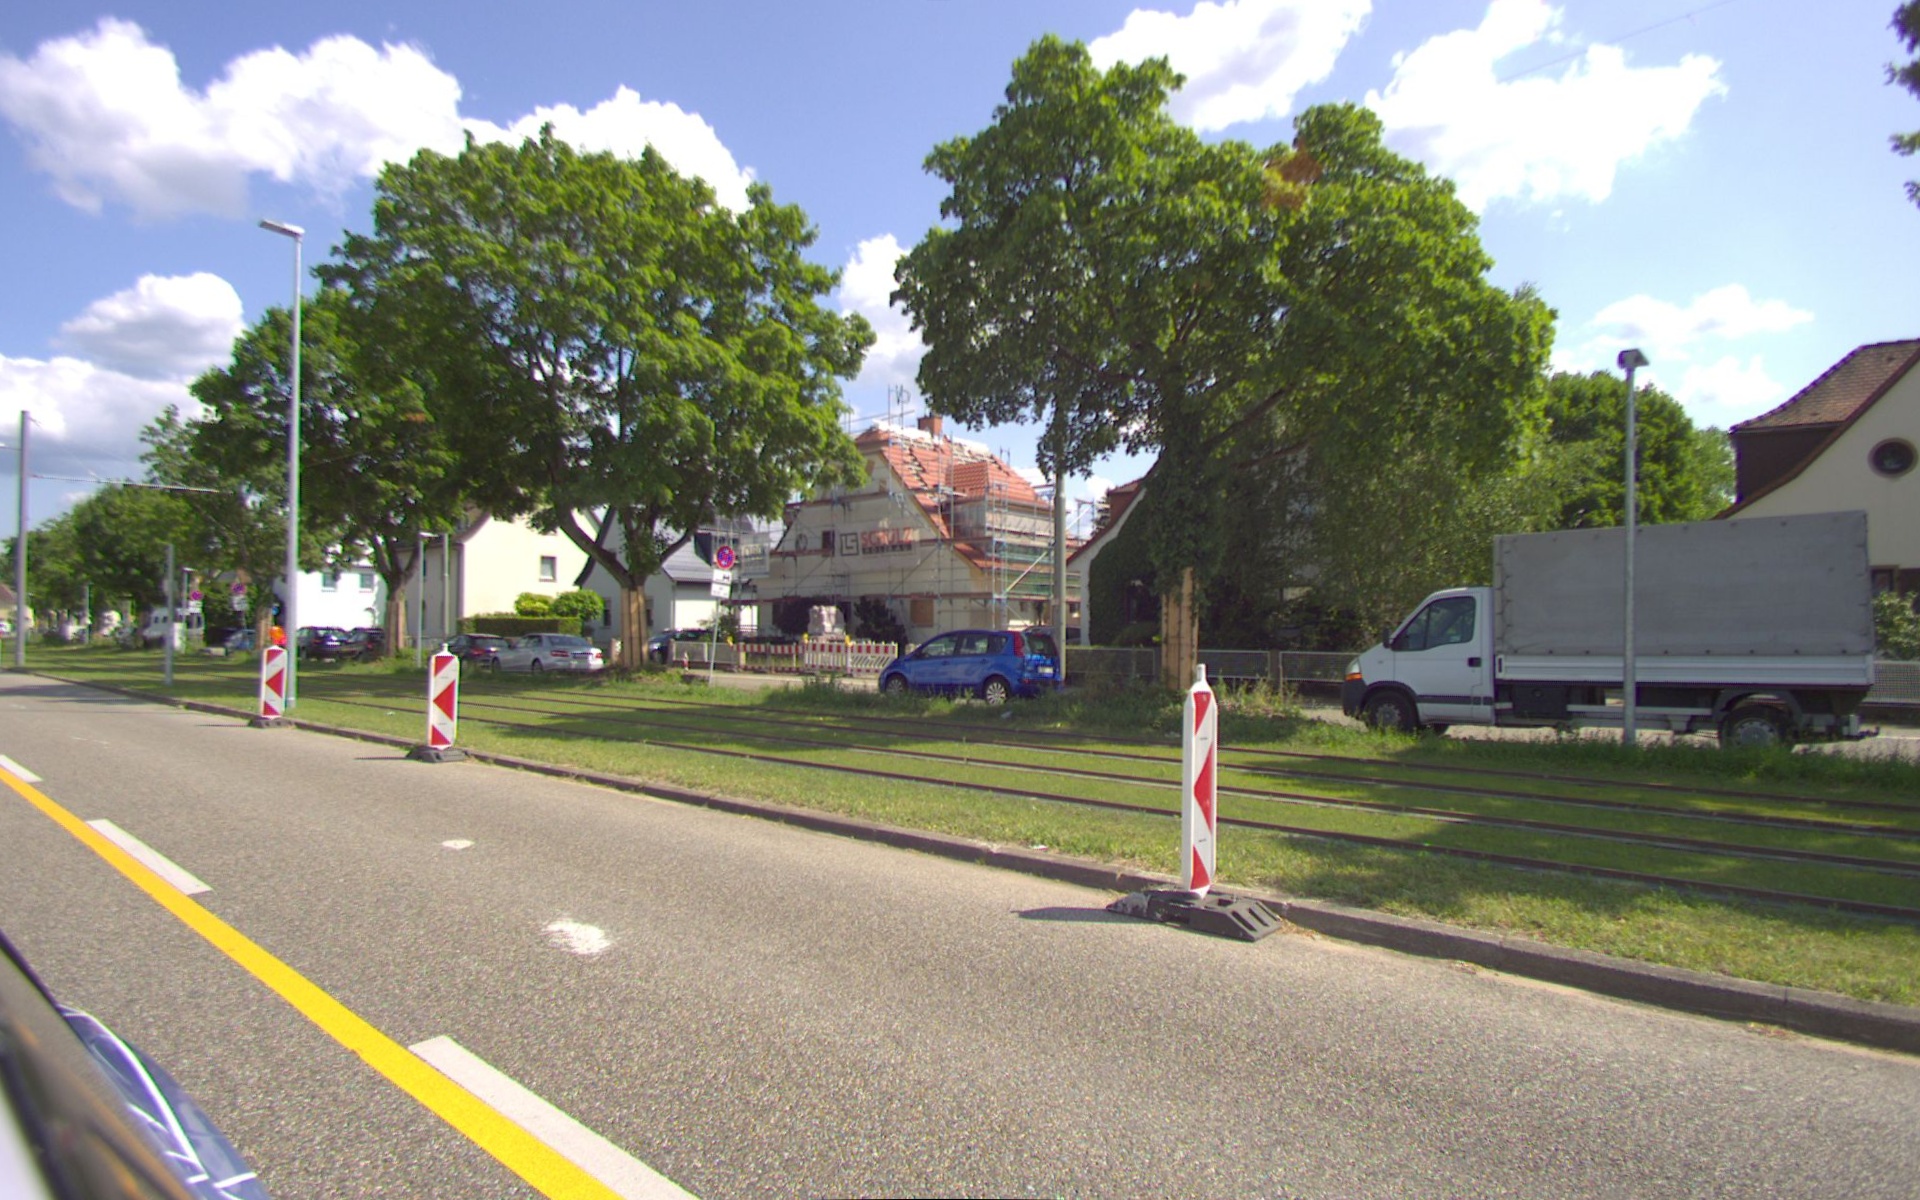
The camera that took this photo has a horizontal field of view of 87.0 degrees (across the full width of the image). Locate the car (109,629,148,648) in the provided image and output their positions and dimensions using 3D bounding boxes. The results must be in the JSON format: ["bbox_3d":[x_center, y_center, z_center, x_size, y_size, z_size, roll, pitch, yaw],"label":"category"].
[{"bbox_3d":[-70.192,3.247,85.414,4.603,1.623,1.733,-2,-3,40],"label":"car"}]

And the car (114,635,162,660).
[{"bbox_3d":[-57.014,3.262,70.160,4.603,1.623,1.733,-2,-3,40],"label":"car"}]

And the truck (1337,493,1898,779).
[{"bbox_3d":[8.279,0.462,13.360,5.871,3.010,1.982,-2,-3,41],"label":"truck"}]

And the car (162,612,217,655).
[{"bbox_3d":[-48.824,2.101,64.106,4.603,2.636,1.733,-2,-3,40],"label":"car"}]

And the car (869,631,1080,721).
[{"bbox_3d":[0.225,1.440,20.200,4.047,1.623,1.733,-2,-3,40],"label":"car"}]

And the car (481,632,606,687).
[{"bbox_3d":[-13.167,1.826,31.867,4.603,1.623,1.733,-2,-3,40],"label":"car"}]

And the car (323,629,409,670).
[{"bbox_3d":[-25.176,2.069,42.835,4.603,1.623,1.733,-2,-3,40],"label":"car"}]

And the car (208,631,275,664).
[{"bbox_3d":[-37.637,2.463,52.988,4.603,1.623,1.733,-2,-3,40],"label":"car"}]

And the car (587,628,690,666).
[{"bbox_3d":[-14.075,2.042,44.514,1.756,1.623,3.995,-2,-3,41],"label":"car"}]

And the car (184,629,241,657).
[{"bbox_3d":[-44.637,2.547,60.413,4.603,1.623,1.733,-2,-3,40],"label":"car"}]

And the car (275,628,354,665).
[{"bbox_3d":[-29.595,2.094,46.339,4.603,1.623,1.733,-2,-3,40],"label":"car"}]

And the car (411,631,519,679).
[{"bbox_3d":[-17.608,1.911,35.938,4.603,1.623,1.733,-2,-3,40],"label":"car"}]
